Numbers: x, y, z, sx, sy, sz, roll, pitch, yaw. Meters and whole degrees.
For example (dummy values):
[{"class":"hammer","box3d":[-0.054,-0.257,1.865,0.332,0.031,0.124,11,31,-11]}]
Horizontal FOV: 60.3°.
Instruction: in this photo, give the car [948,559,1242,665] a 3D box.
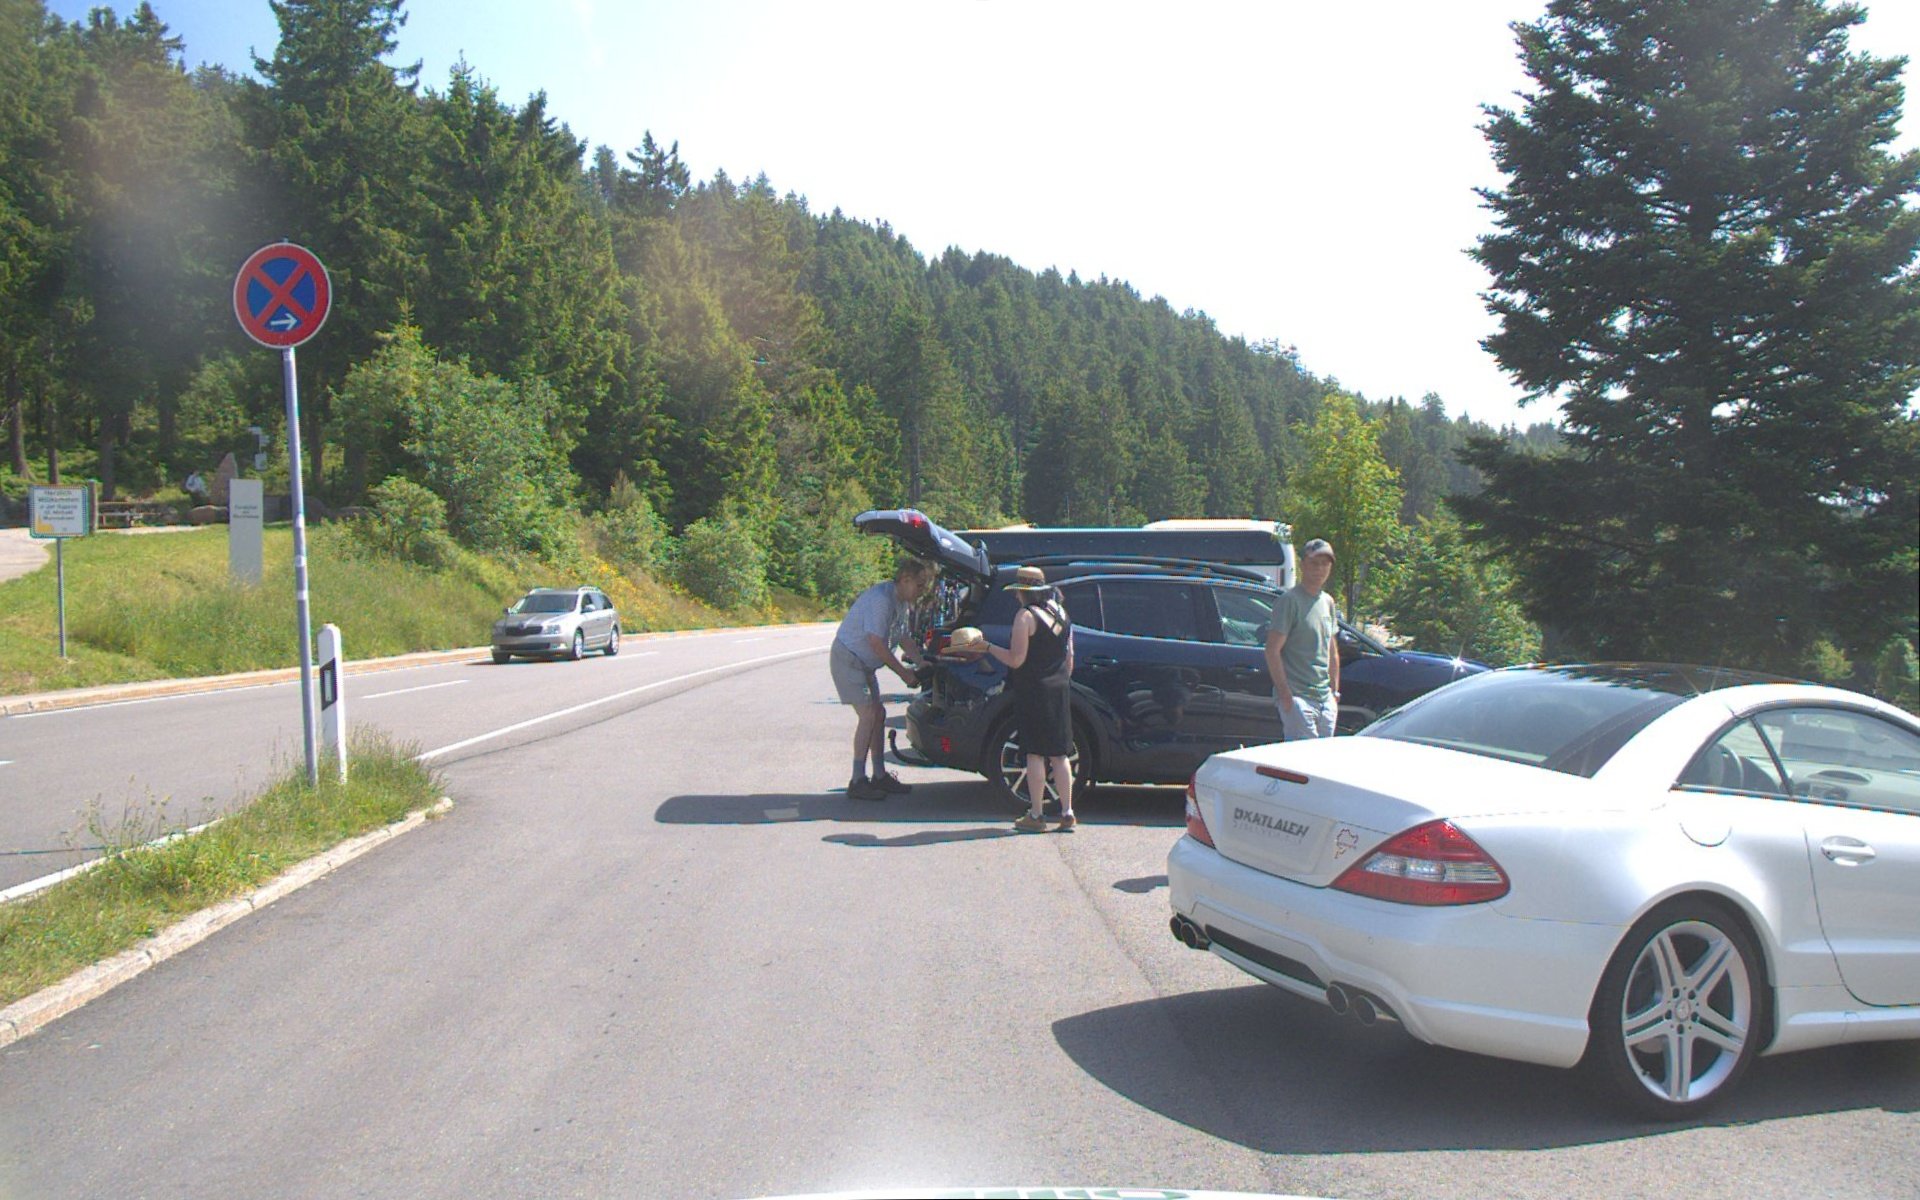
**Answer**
[{"class":"car","box3d":[2.308,0.195,29.007,4.930,1.680,2.048,-1,0,1]}]

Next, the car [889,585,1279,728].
[{"class":"car","box3d":[1.278,0.594,18.059,4.002,1.400,1.700,1,0,-5]}]

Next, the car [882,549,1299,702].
[{"class":"car","box3d":[1.571,0.294,20.340,4.845,1.725,1.946,-1,0,3]}]

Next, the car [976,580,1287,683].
[{"class":"car","box3d":[2.333,0.417,23.204,4.156,1.291,1.838,-1,0,1]}]

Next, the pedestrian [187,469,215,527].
[{"class":"pedestrian","box3d":[-25.638,-3.433,55.890,0.668,1.910,0.540,-1,0,34]}]

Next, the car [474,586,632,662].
[{"class":"car","box3d":[-8.509,0.447,35.008,1.839,1.500,4.717,0,0,5]}]

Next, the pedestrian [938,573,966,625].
[{"class":"pedestrian","box3d":[-0.264,-0.039,52.778,0.754,1.613,0.773,-1,0,8]}]

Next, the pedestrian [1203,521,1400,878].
[{"class":"pedestrian","box3d":[1.850,0.514,8.994,0.738,1.831,0.728,1,-1,-31]}]

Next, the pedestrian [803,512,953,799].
[{"class":"pedestrian","box3d":[-0.567,0.350,11.514,0.721,1.903,0.756,2,3,31]}]

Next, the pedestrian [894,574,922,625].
[{"class":"pedestrian","box3d":[-1.668,-0.025,53.247,0.754,1.613,0.773,-1,0,8]}]

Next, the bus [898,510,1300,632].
[{"class":"bus","box3d":[4.576,-0.887,54.297,12.813,3.594,3.046,-1,0,11]}]

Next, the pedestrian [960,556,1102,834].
[{"class":"pedestrian","box3d":[0.432,0.565,10.130,0.703,1.641,0.533,1,-1,-19]}]

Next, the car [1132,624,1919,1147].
[{"class":"car","box3d":[2.966,0.838,6.038,4.336,1.318,1.744,2,1,-22]}]

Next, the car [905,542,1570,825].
[{"class":"car","box3d":[1.806,0.559,11.655,4.259,1.654,1.868,3,0,-4]}]

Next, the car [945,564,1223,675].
[{"class":"car","box3d":[1.892,0.284,25.898,4.156,1.581,1.838,-1,0,1]}]
